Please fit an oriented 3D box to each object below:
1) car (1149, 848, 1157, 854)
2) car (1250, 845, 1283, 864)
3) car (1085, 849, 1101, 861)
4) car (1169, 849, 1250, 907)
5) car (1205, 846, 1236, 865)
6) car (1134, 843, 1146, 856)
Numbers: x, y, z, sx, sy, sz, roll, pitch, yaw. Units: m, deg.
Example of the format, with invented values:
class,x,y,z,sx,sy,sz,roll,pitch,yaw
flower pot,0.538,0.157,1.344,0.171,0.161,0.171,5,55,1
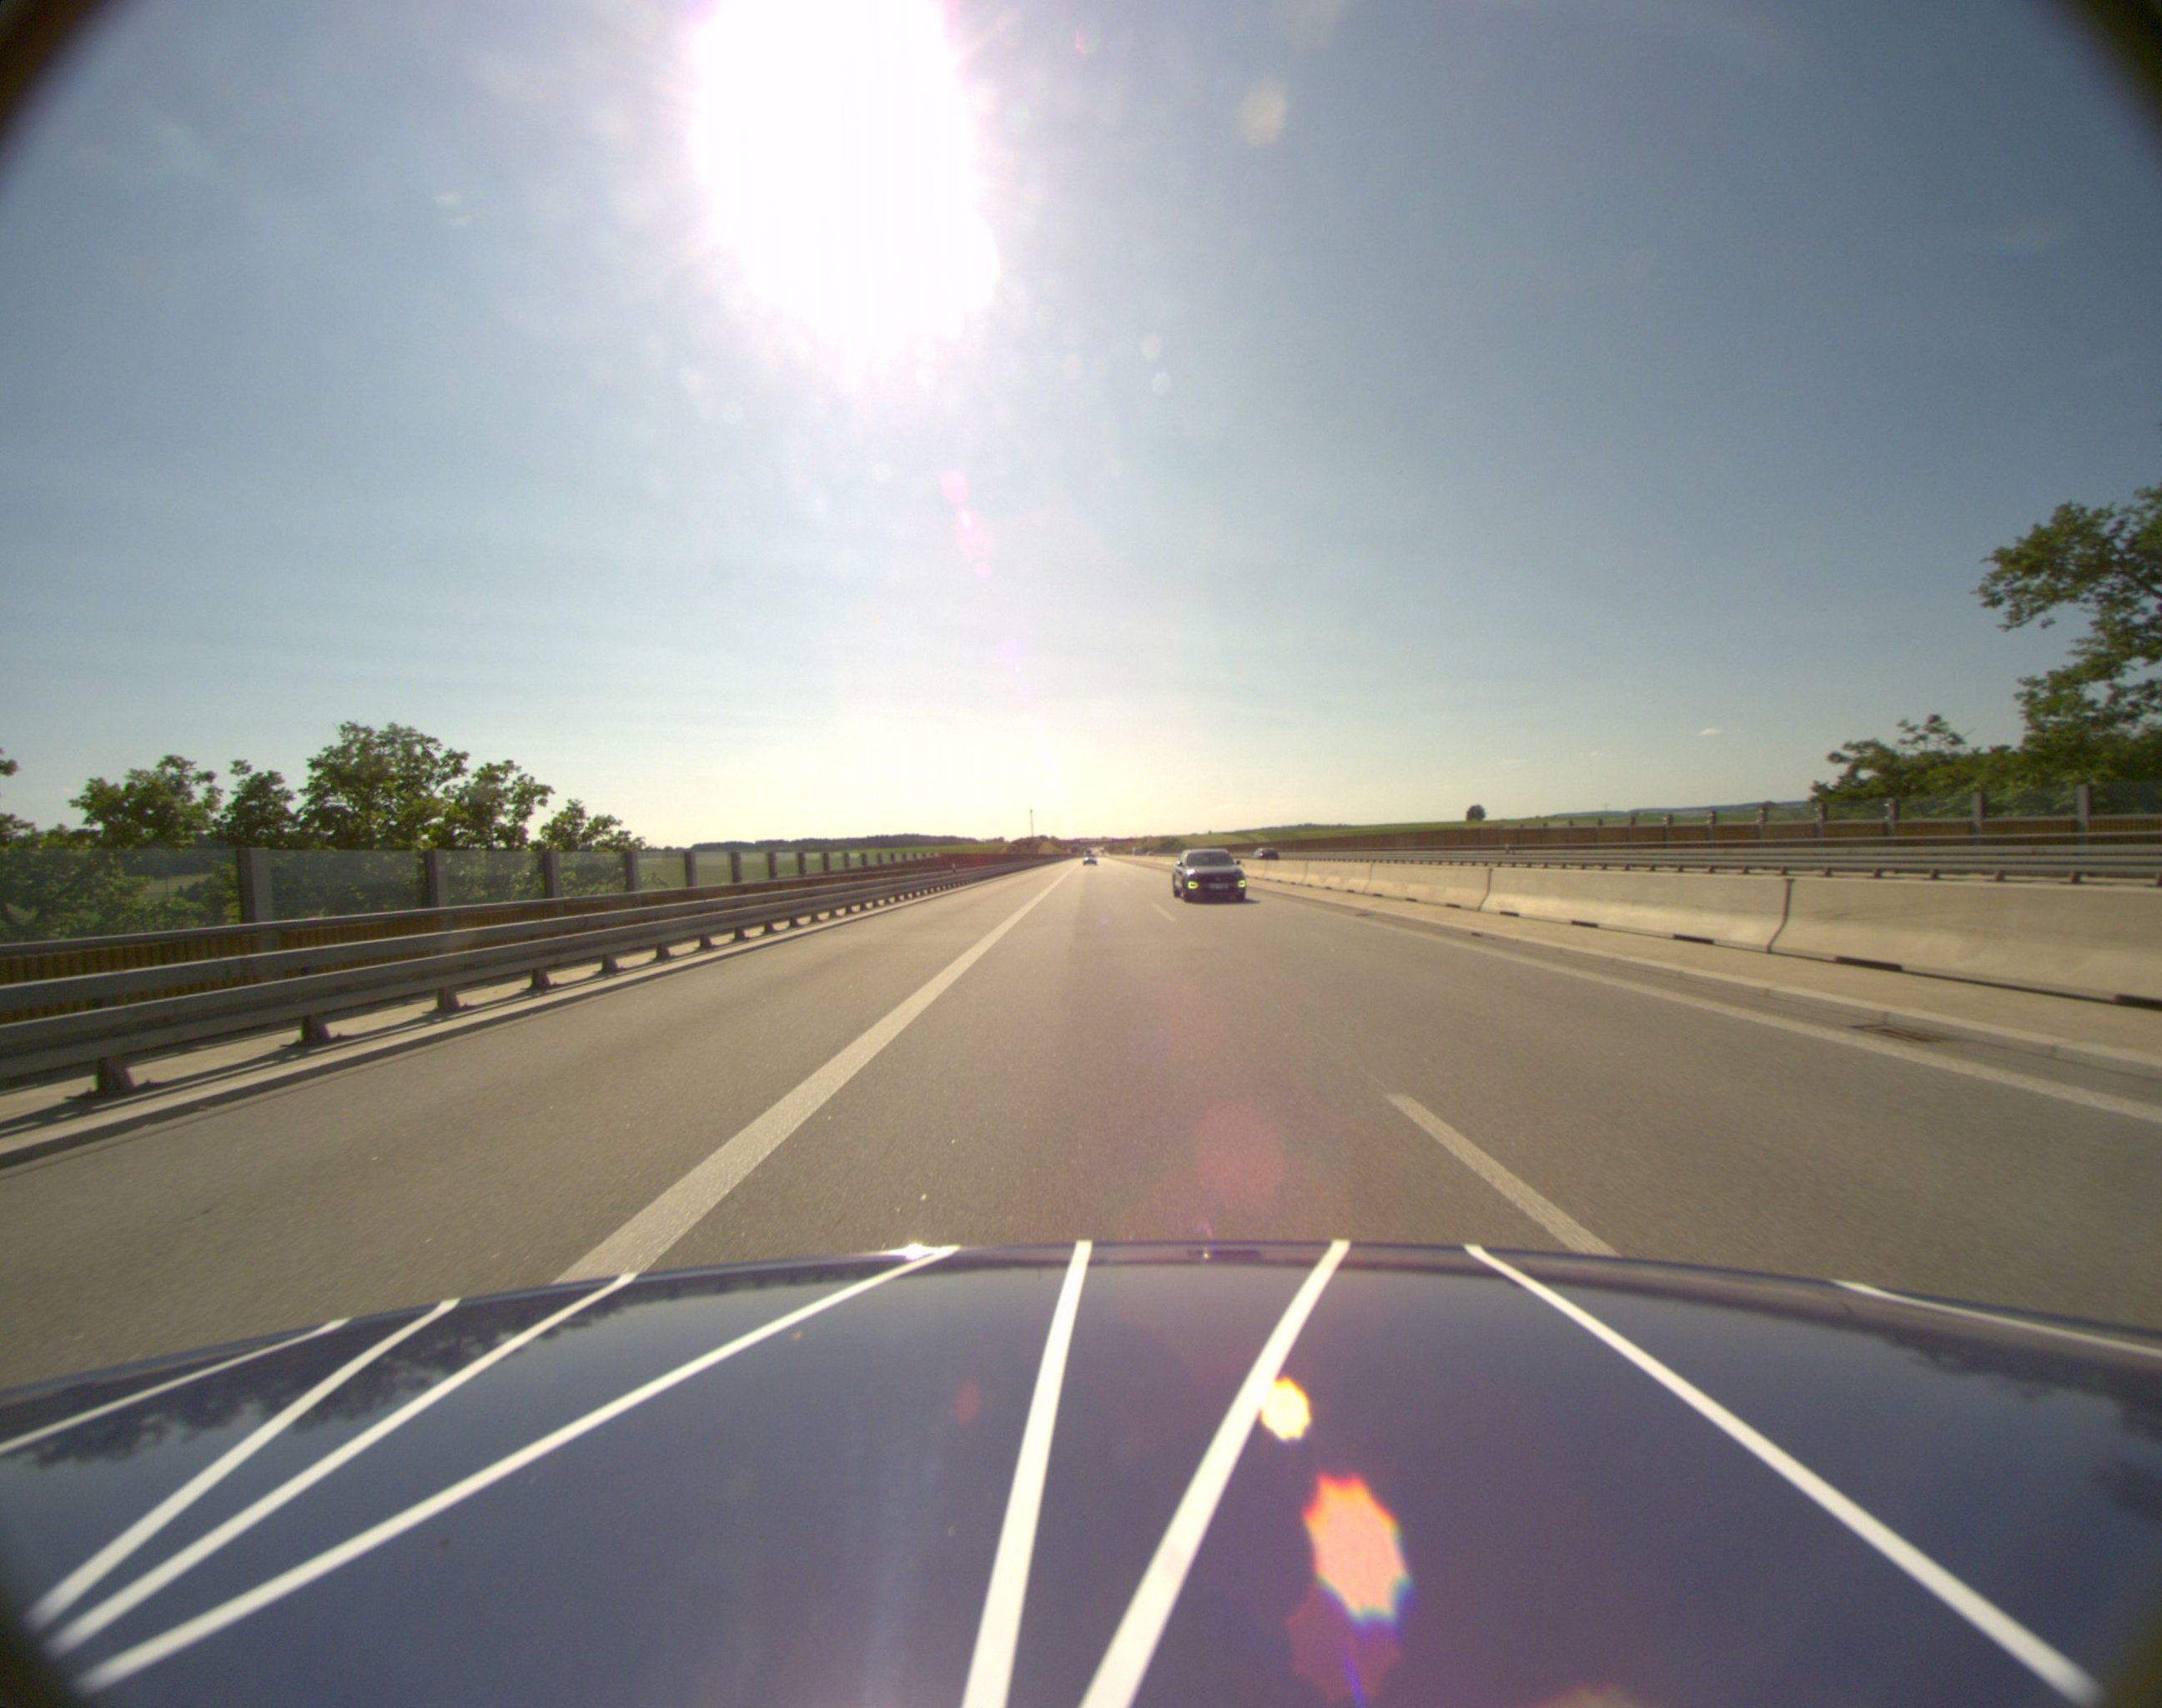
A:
class,x,y,z,sx,sy,sz,roll,pitch,yaw
car,18.089,-0.810,191.705,1.651,1.500,4.332,-2,0,1
car,15.116,0.031,62.029,1.583,1.449,4.449,-2,0,0
car,1.510,0.159,97.802,1.909,1.449,4.376,-2,0,2
car,3.912,0.661,23.920,1.776,1.560,4.988,-2,0,1
car,11.600,0.117,63.627,1.731,1.494,4.624,-2,0,0
car,13.028,-1.012,169.164,2.028,2.654,6.486,-2,0,0
